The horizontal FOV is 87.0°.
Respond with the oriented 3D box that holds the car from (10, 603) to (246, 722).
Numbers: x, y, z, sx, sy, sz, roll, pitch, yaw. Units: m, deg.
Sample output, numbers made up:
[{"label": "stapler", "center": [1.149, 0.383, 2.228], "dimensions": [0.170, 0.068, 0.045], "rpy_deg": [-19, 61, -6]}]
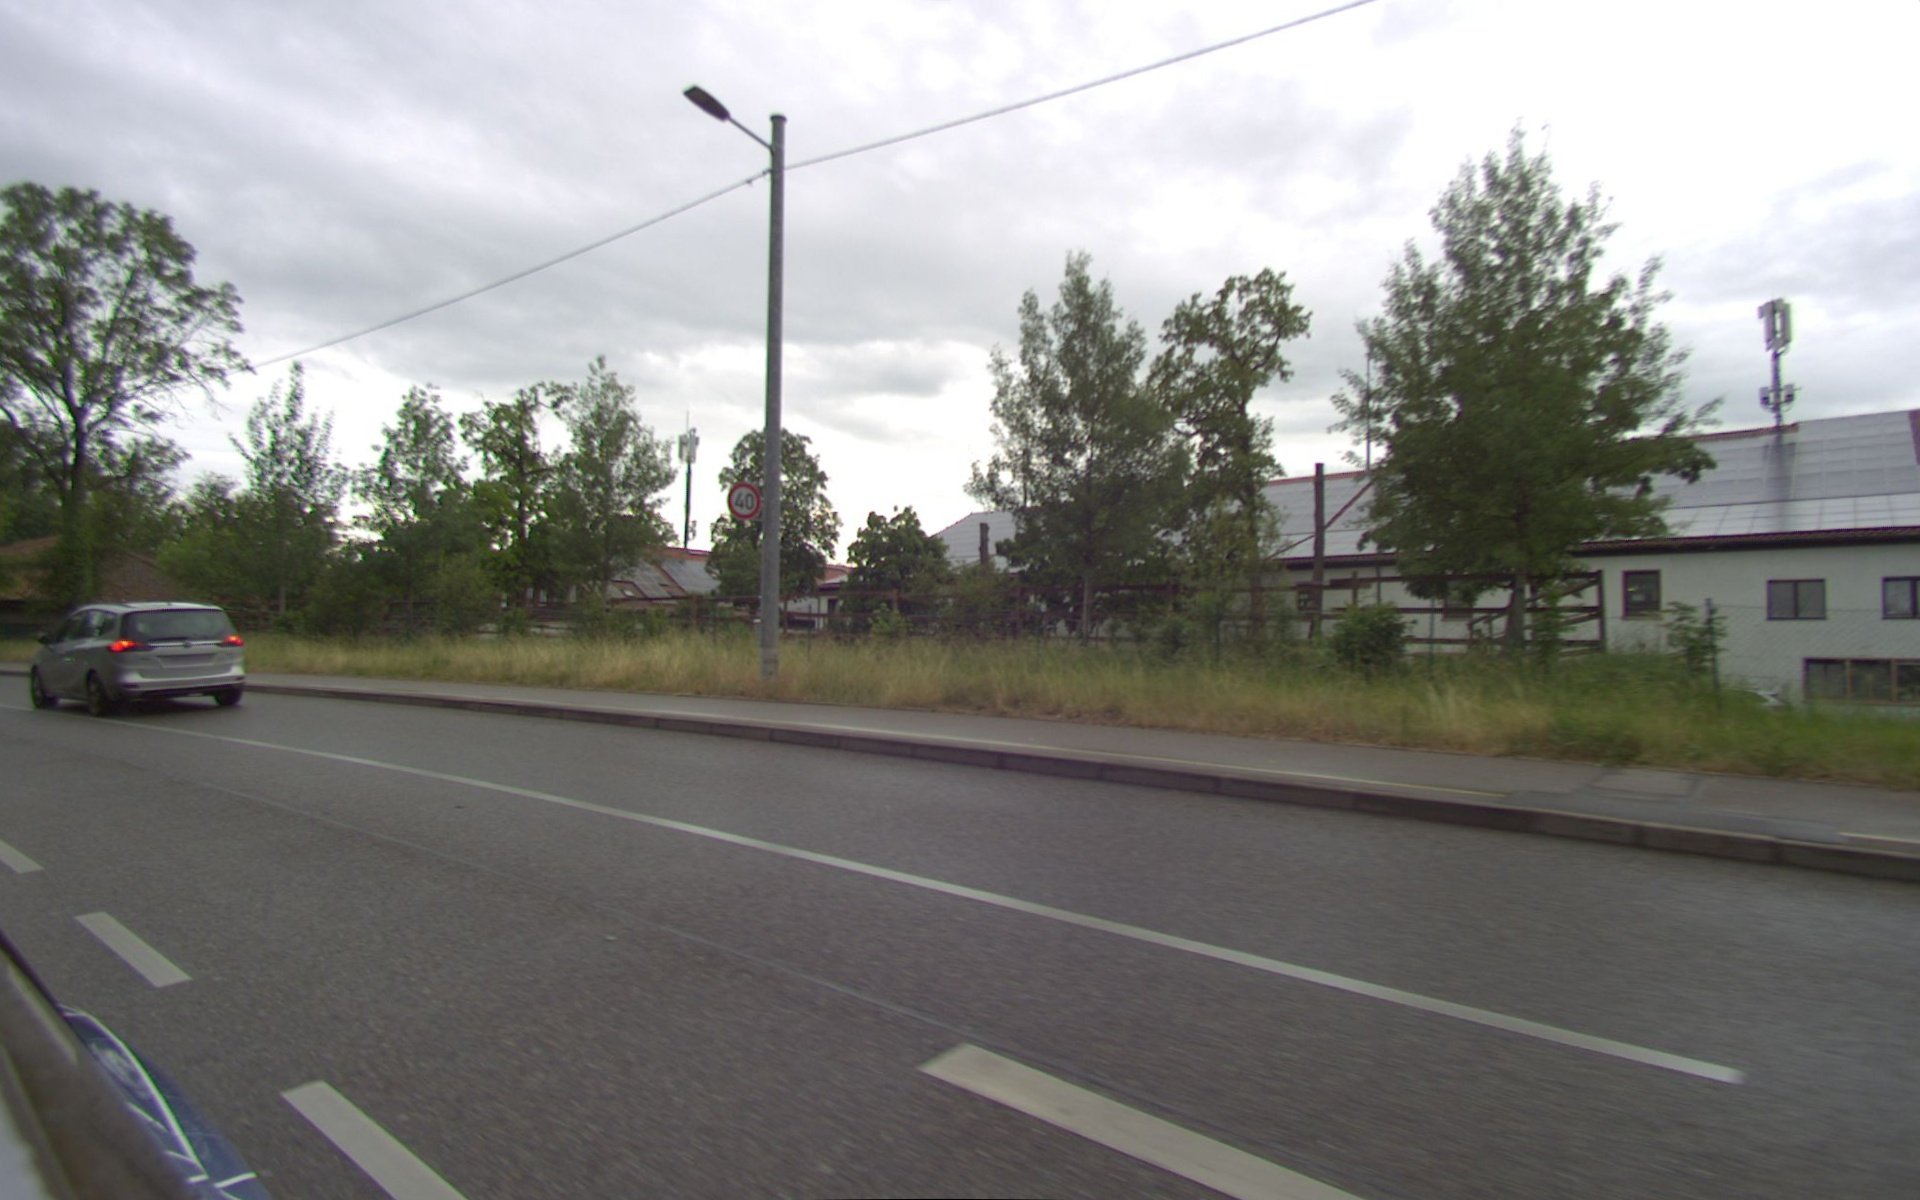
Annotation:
[{"label": "car", "center": [-13.186, 0.902, 15.965], "dimensions": [4.407, 1.627, 1.744], "rpy_deg": [-1, 0, 35]}]
